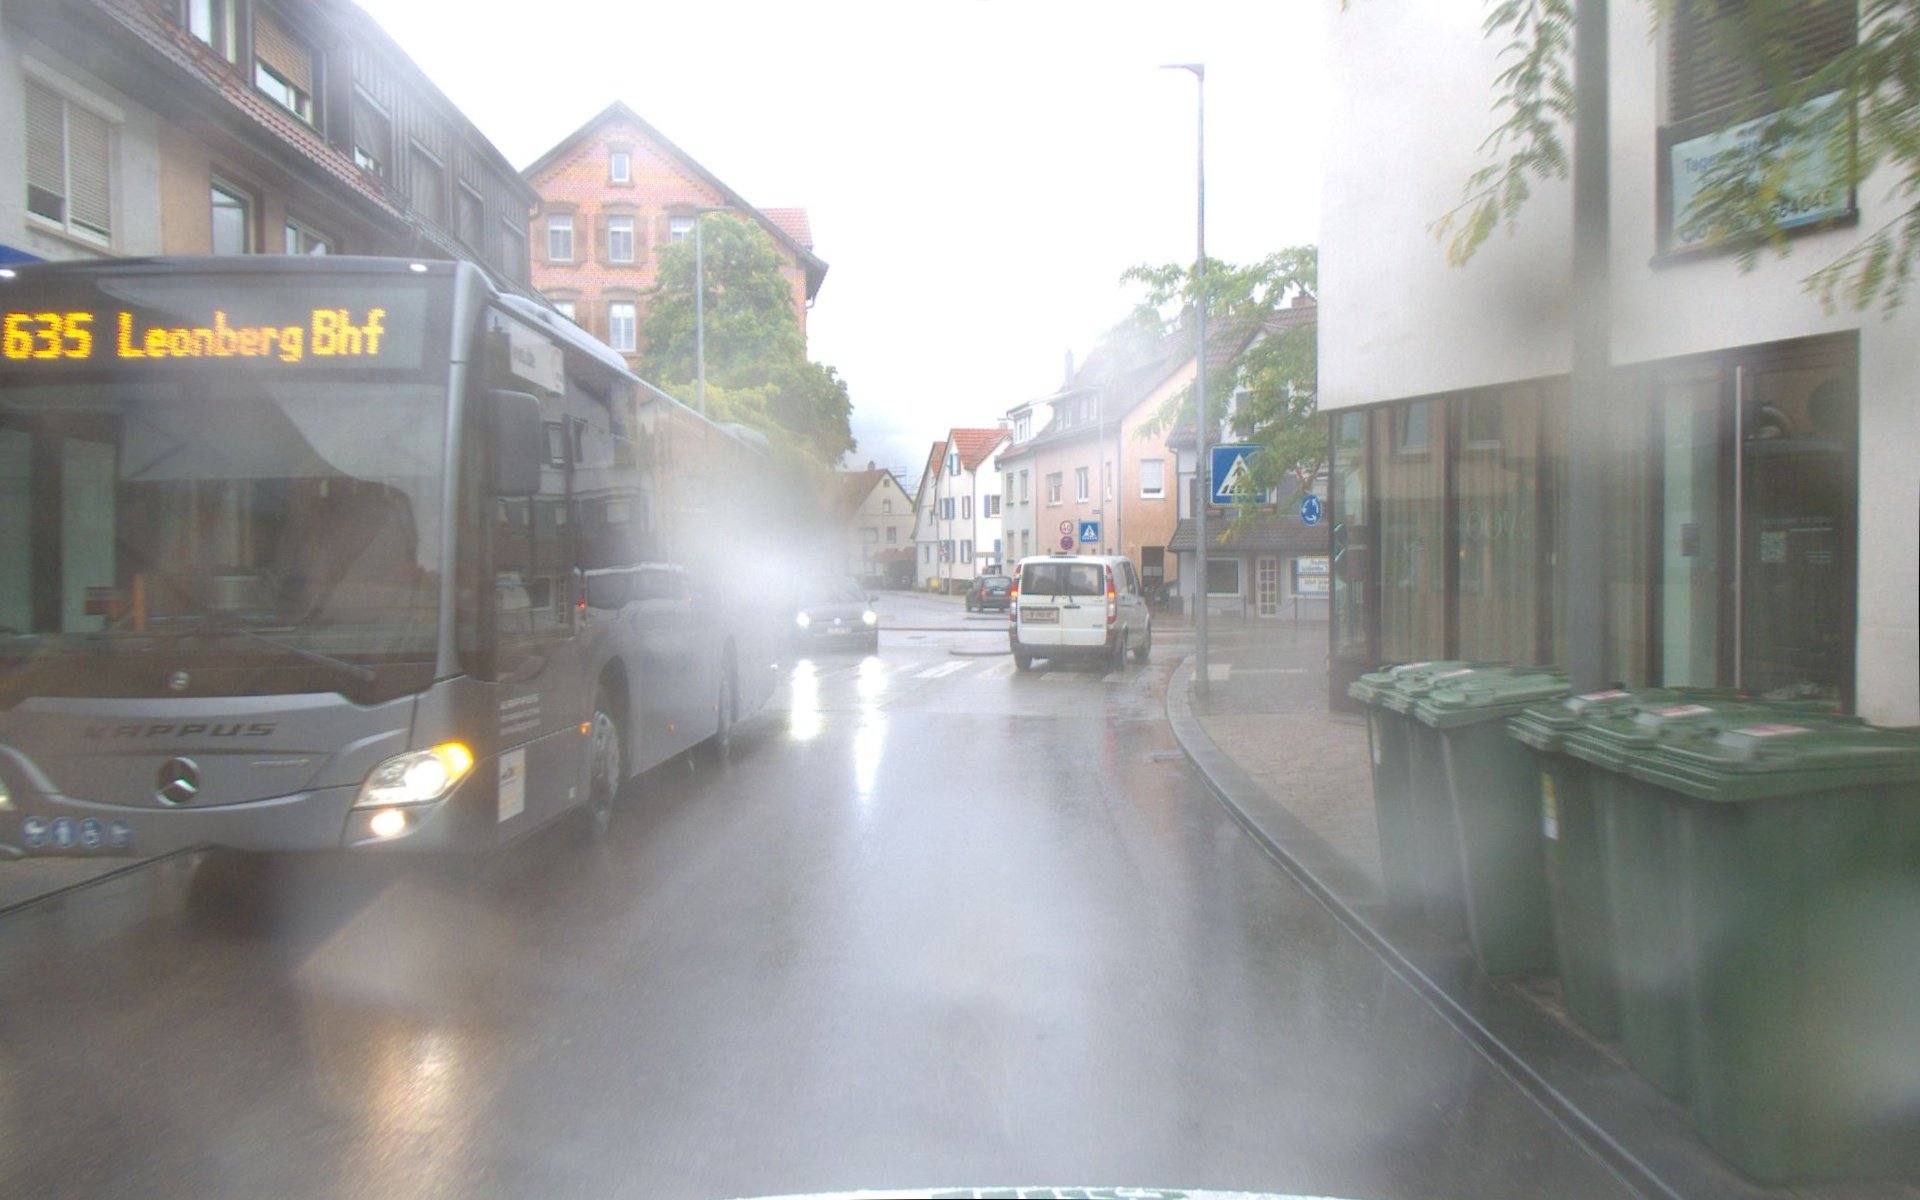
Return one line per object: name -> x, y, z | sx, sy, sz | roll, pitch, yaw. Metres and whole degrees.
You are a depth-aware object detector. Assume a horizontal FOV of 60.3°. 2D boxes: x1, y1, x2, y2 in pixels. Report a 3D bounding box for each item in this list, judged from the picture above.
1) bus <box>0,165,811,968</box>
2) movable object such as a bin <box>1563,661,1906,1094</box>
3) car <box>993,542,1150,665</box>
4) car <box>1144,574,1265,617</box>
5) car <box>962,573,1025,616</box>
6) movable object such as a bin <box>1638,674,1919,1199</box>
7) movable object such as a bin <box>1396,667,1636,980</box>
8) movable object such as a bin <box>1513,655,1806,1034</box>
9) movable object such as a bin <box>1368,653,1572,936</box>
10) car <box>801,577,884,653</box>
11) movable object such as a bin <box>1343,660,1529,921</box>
bus -> -3.021, -0.197, 11.942 | 2.667, 3.133, 10.948 | 0, 1, 1
movable object such as a bin -> 2.307, 0.801, 5.002 | 0.736, 1.191, 0.631 | -1, 0, 4
car -> 2.036, 0.069, 28.557 | 2.106, 1.932, 4.929 | 0, 0, 11
car -> 8.845, -0.146, 60.002 | 3.919, 1.512, 1.993 | 0, 0, -14
car -> 1.325, -0.205, 67.174 | 1.935, 1.709, 4.061 | 0, 0, -8
movable object such as a bin -> 2.213, 0.807, 4.180 | 0.736, 1.191, 0.631 | -1, 0, 4
movable object such as a bin -> 2.160, 0.847, 6.493 | 0.746, 1.137, 0.624 | 0, 0, 1
movable object such as a bin -> 2.363, 0.804, 5.661 | 0.736, 1.191, 0.631 | -1, 0, 4
movable object such as a bin -> 2.172, 0.811, 7.098 | 0.709, 1.137, 0.576 | 0, 0, 1
car -> -2.445, 0.259, 34.949 | 1.632, 1.455, 4.466 | 0, 1, -3
movable object such as a bin -> 2.195, 0.862, 7.689 | 0.709, 1.137, 0.576 | 0, 0, 1
